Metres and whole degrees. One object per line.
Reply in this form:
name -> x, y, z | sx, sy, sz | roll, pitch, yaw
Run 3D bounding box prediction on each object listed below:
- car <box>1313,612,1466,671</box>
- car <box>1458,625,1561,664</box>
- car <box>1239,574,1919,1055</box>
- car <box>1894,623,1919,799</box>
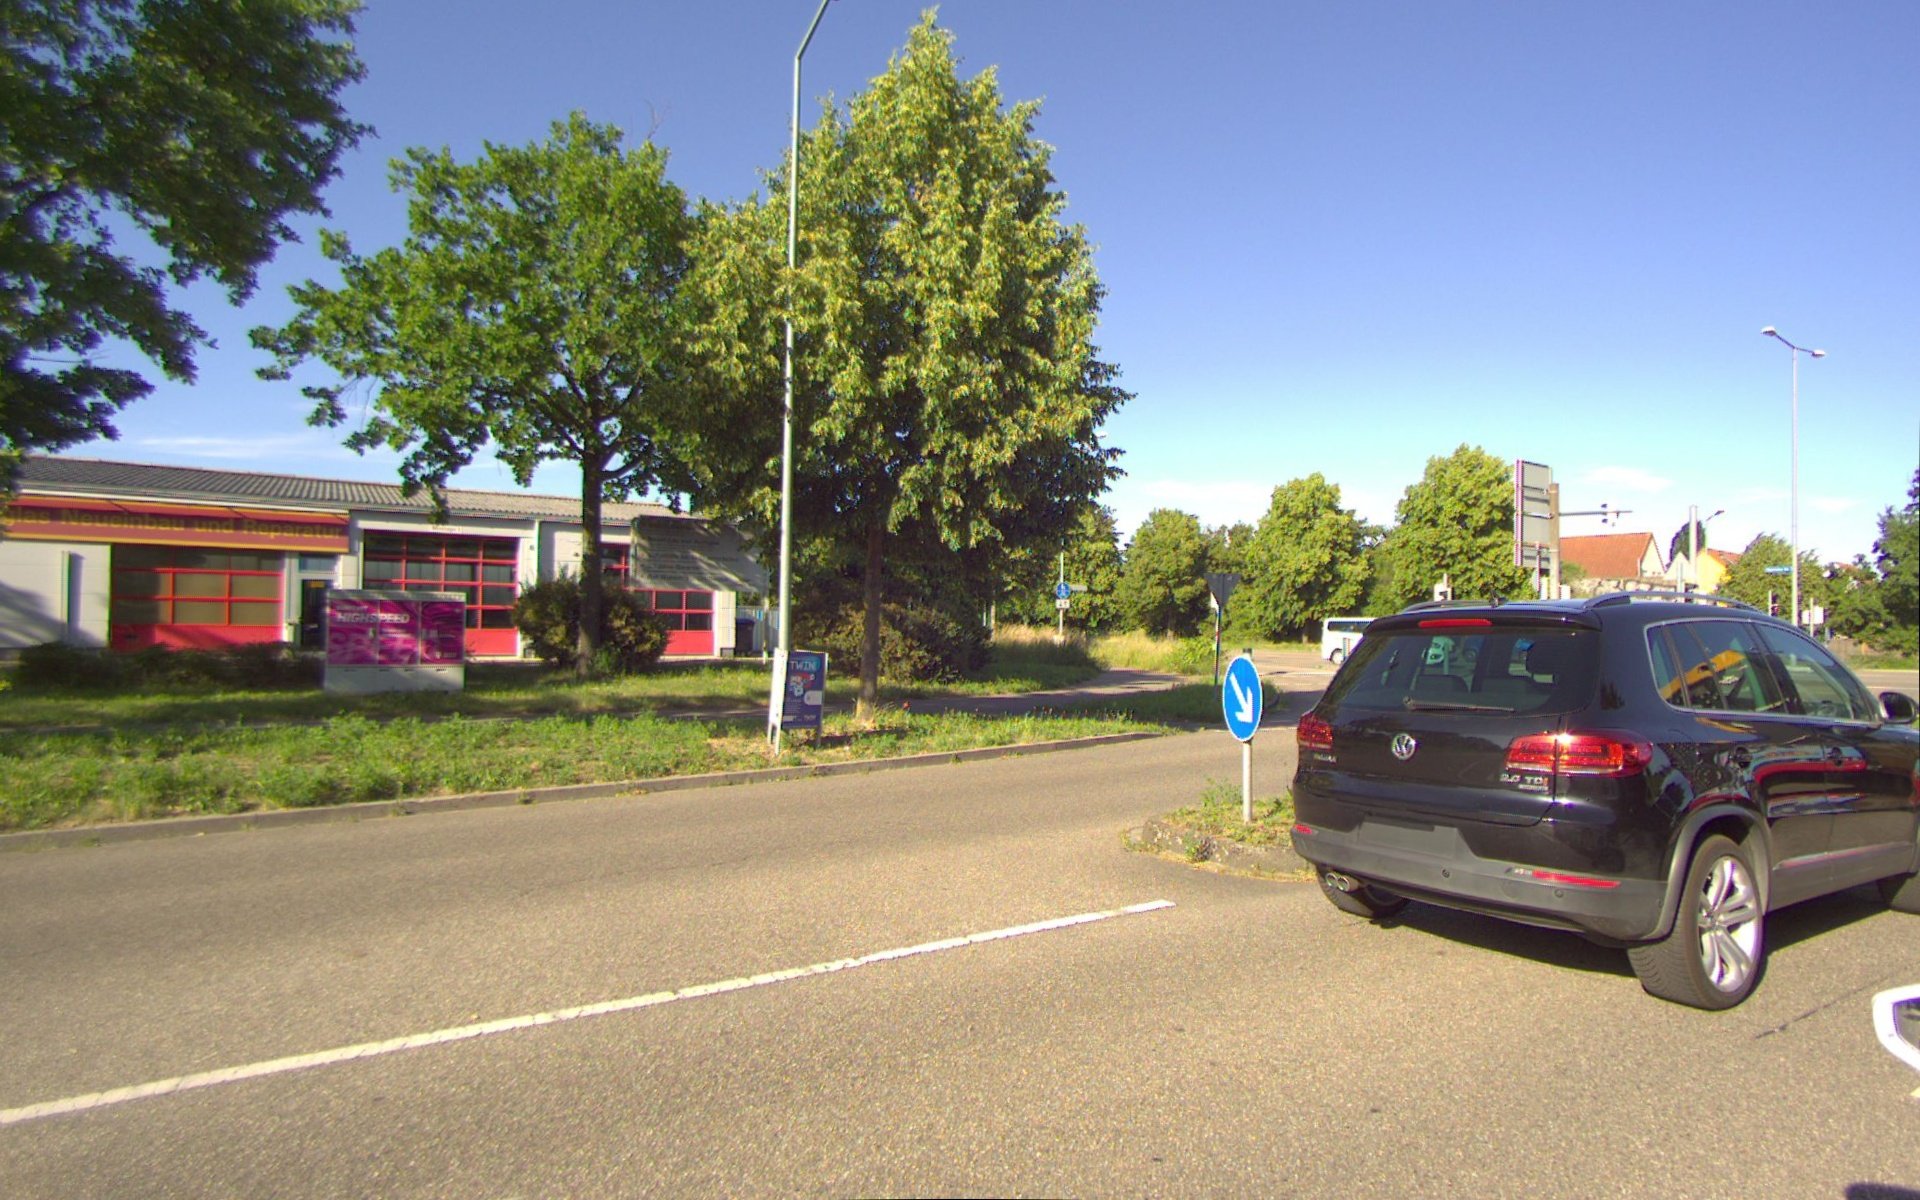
car -> 17.236, 1.624, 40.602 | 2.160, 2.146, 5.350 | 2, -1, -35
car -> 23.749, 1.910, 43.496 | 1.733, 1.581, 3.559 | 2, -2, -35
car -> 3.549, 0.826, 5.311 | 3.954, 1.675, 1.763 | 1, -3, -31
car -> 10.813, 1.026, 9.566 | 3.954, 1.610, 1.753 | 1, -3, -31
